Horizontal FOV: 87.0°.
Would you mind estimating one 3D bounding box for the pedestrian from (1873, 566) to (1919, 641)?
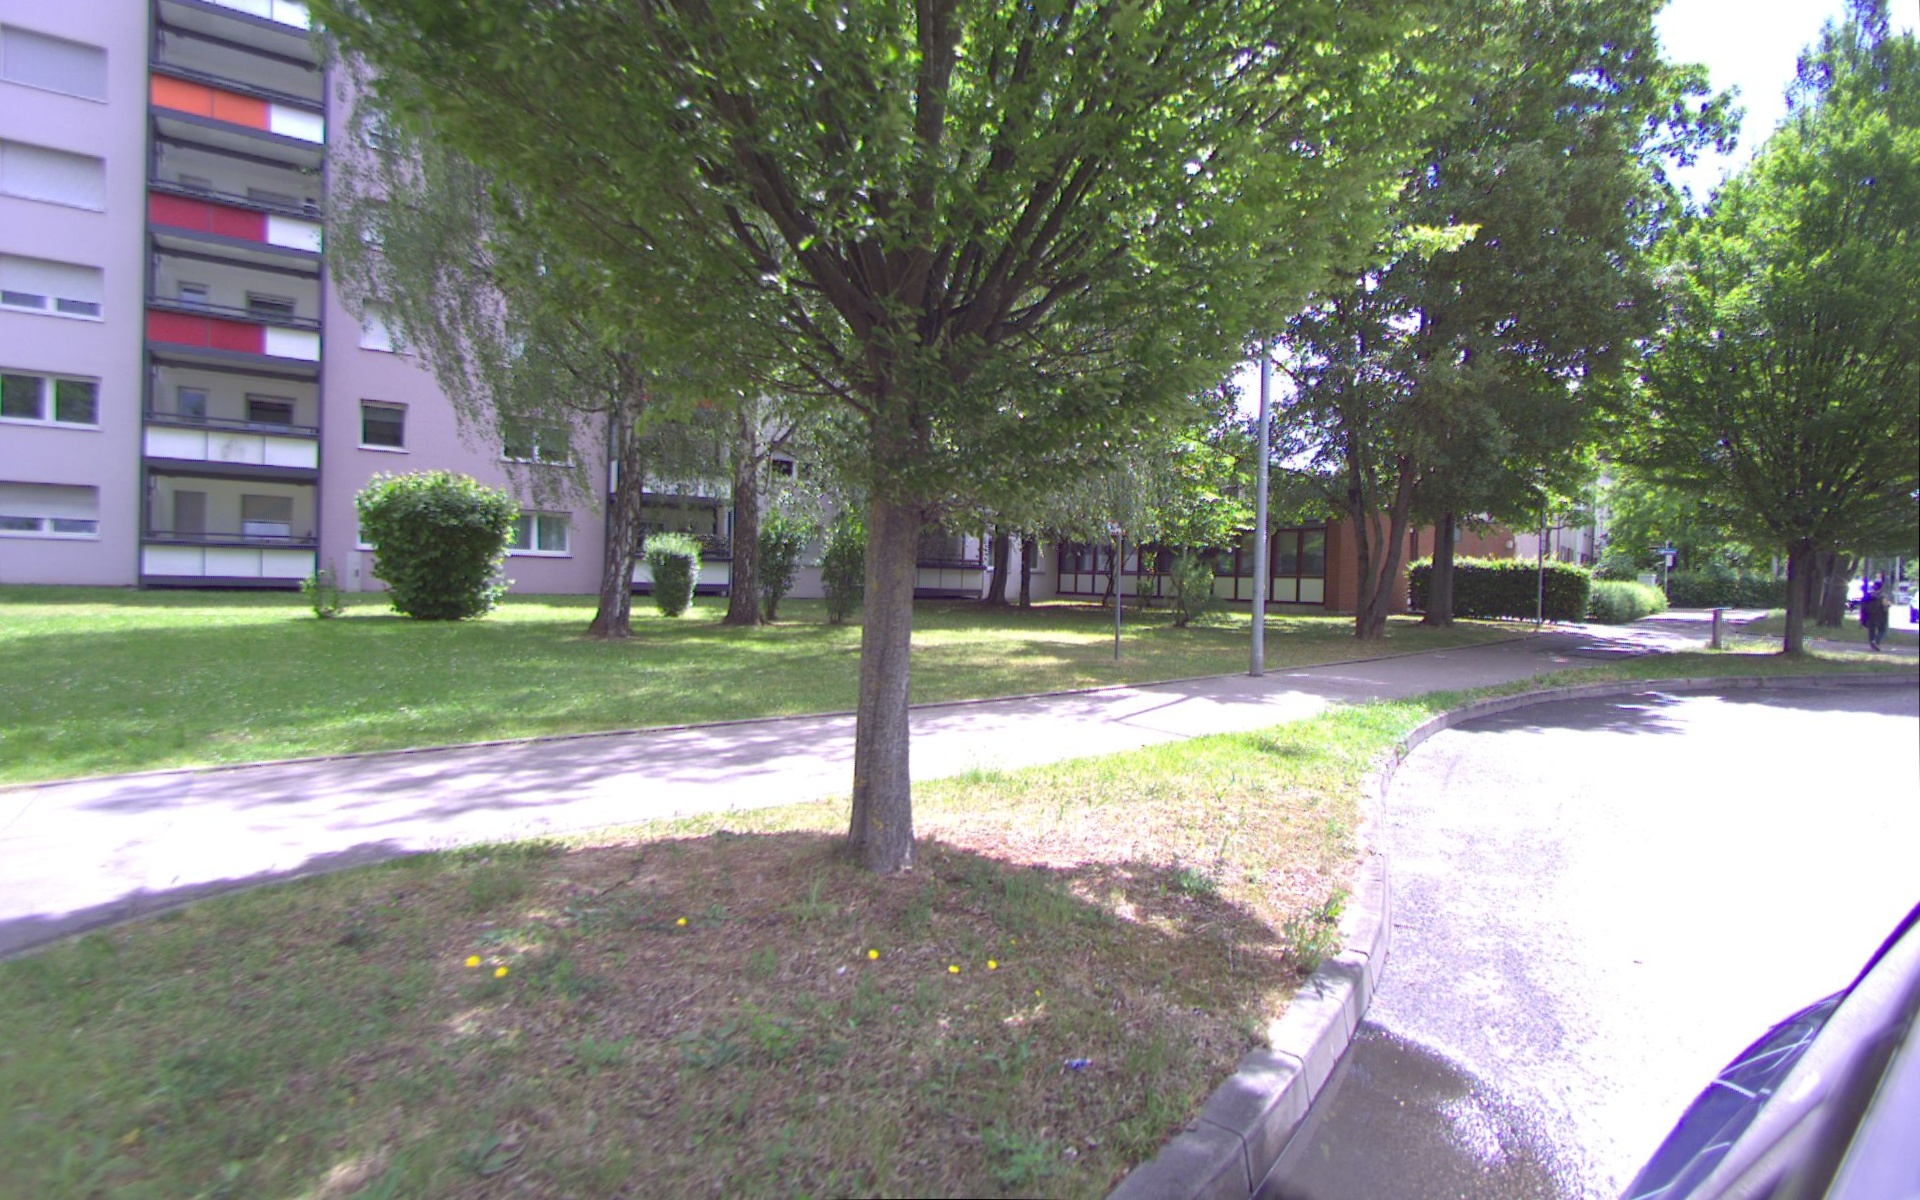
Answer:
[{"bbox_3d":[20.700,0.063,22.364,0.827,1.598,0.719,-3,3,-44],"label":"pedestrian"}]
